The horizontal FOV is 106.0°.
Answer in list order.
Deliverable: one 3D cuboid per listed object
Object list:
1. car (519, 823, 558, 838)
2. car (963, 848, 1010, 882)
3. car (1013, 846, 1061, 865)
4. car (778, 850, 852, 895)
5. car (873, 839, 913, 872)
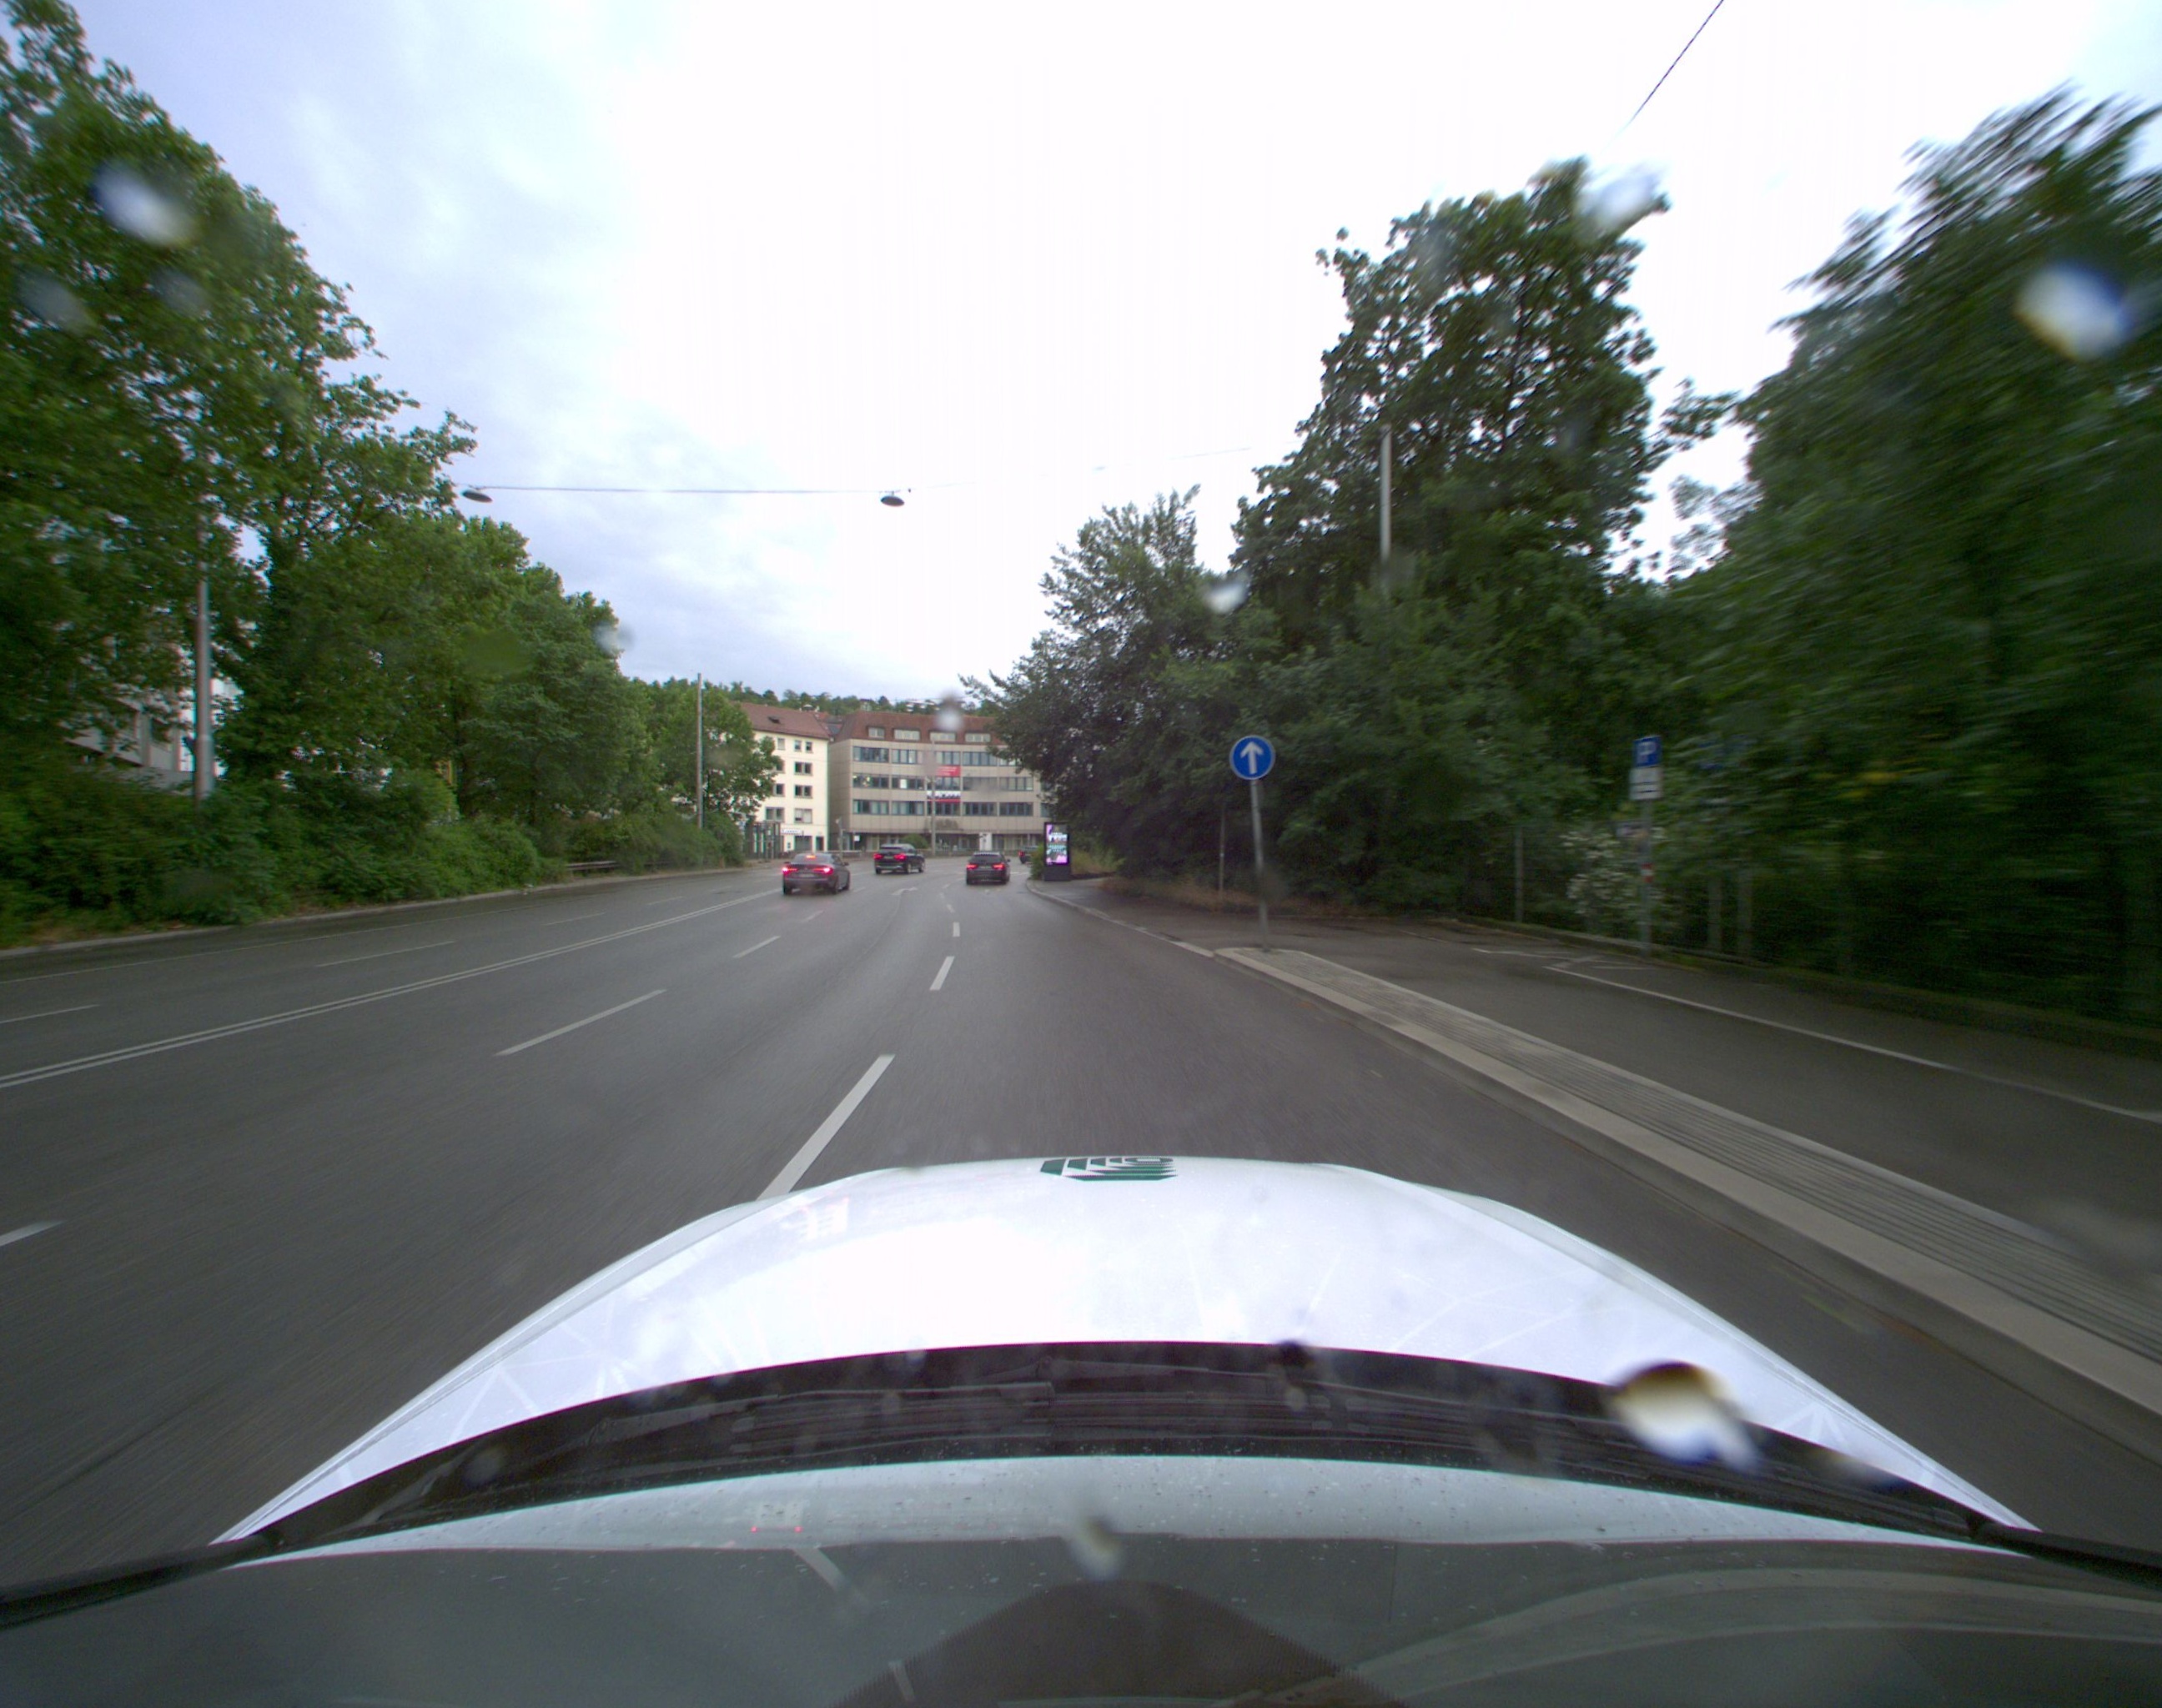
[{"bbox_3d":[-63.794,-2.742,95.754,3.757,1.590,1.768,-1,0,15],"label":"car"},{"bbox_3d":[-4.284,0.486,37.278,1.955,1.426,4.118,-1,0,-5],"label":"car"},{"bbox_3d":[-3.451,0.075,65.180,1.775,1.425,4.640,0,1,26],"label":"car"},{"bbox_3d":[-9.485,0.590,29.399,1.790,1.426,4.372,-1,1,-8],"label":"car"},{"bbox_3d":[-10.408,0.091,45.336,1.899,1.693,3.987,-1,0,-9],"label":"car"}]
